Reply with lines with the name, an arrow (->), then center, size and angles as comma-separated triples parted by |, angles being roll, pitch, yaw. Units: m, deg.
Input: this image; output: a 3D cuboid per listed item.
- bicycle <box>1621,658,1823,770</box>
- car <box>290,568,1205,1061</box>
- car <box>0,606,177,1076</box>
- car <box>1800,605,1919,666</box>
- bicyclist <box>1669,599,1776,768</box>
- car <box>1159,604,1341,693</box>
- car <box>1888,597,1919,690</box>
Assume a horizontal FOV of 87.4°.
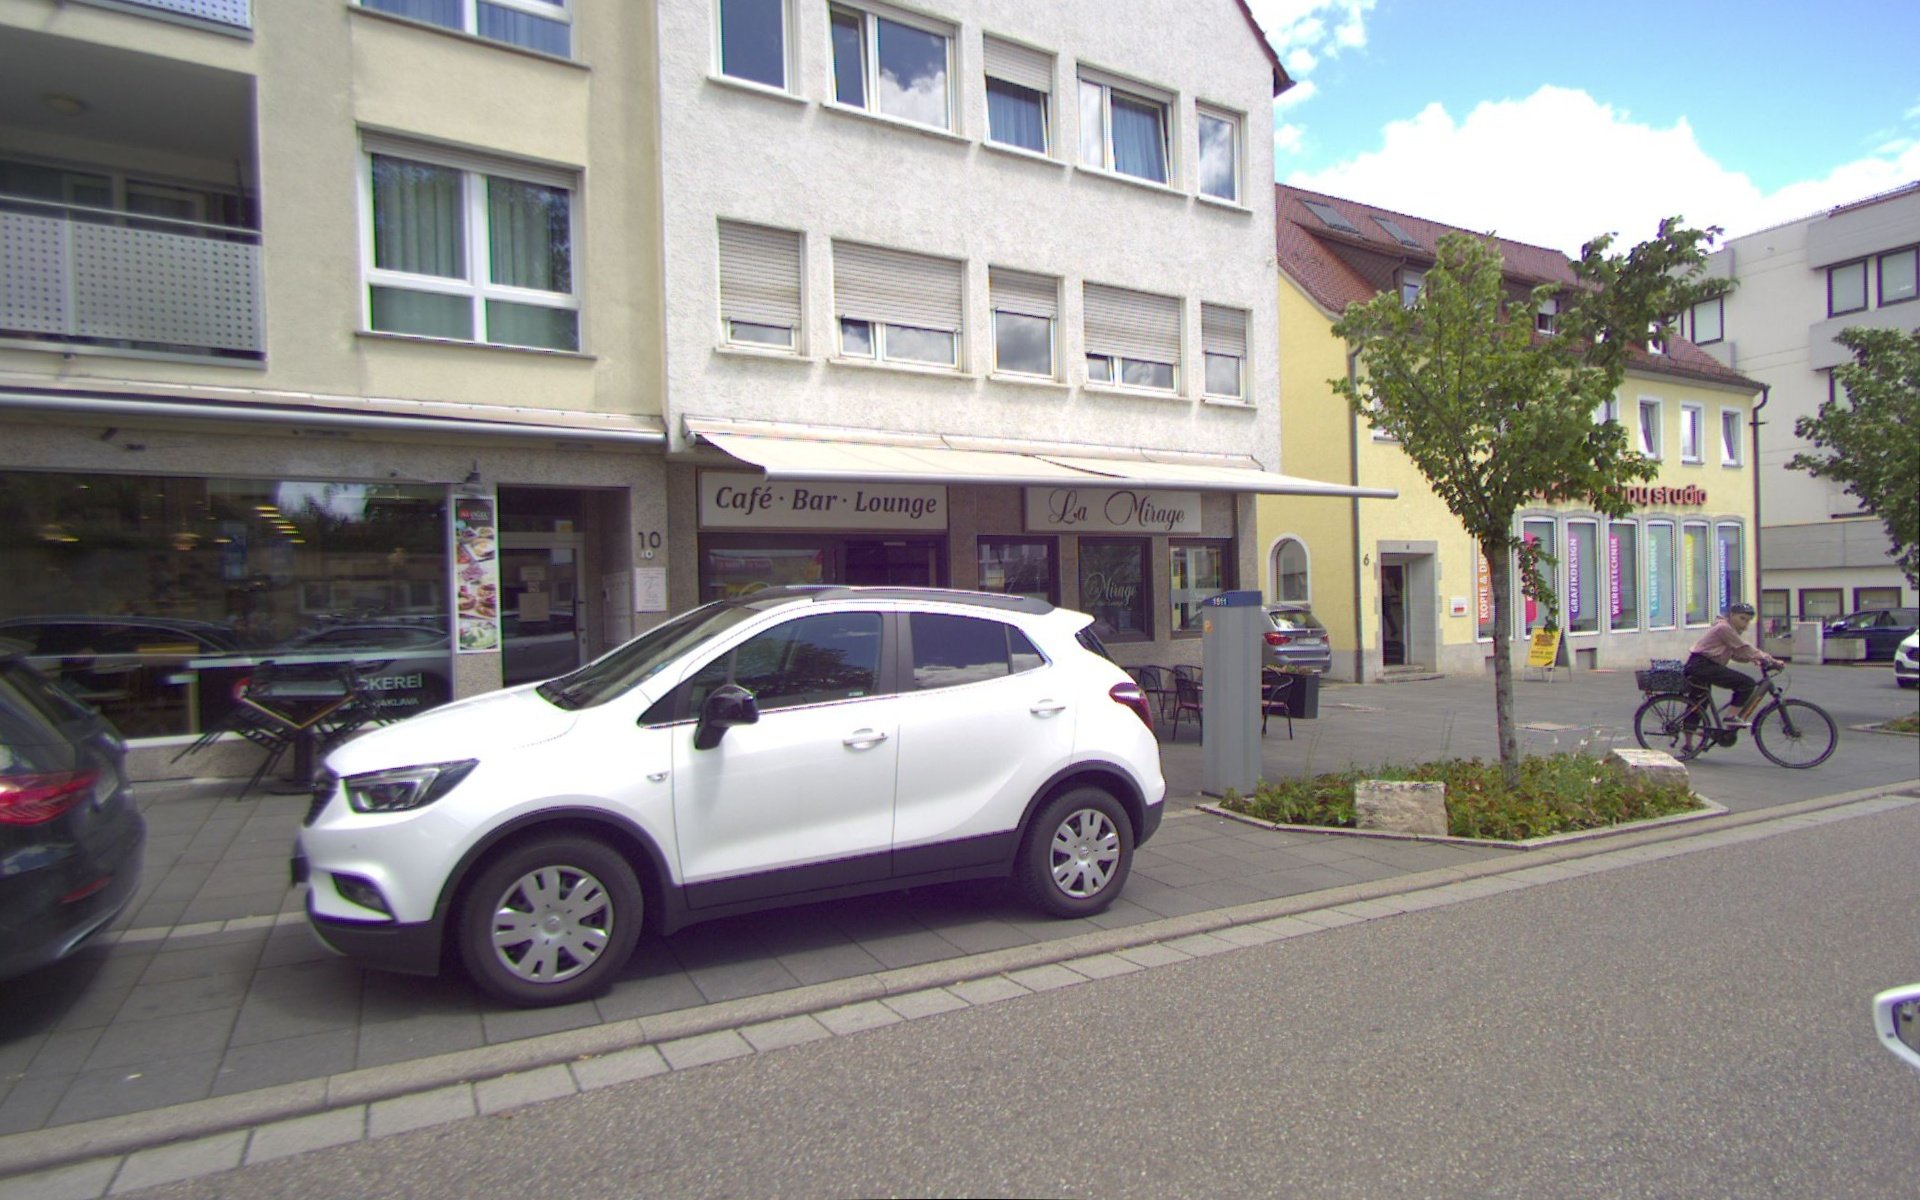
bicycle -> 7.986, 1.172, 10.599 | 1.622, 1.102, 0.413 | -1, -2, 24
car -> -0.868, 0.749, 5.128 | 4.083, 1.668, 1.658 | 1, 0, -29
car -> -5.184, 0.728, 2.876 | 4.469, 1.470, 1.828 | 2, 0, -34
car -> 25.561, 0.952, 27.526 | 1.650, 1.579, 3.607 | 0, 0, -32
bicyclist -> 8.022, 0.863, 10.602 | 0.763, 1.717, 0.509 | -1, -2, 25
car -> 6.013, 0.935, 21.154 | 1.711, 1.672, 3.512 | 0, 0, -29
car -> 21.192, 0.896, 20.818 | 4.426, 1.838, 1.747 | 0, 1, -32
